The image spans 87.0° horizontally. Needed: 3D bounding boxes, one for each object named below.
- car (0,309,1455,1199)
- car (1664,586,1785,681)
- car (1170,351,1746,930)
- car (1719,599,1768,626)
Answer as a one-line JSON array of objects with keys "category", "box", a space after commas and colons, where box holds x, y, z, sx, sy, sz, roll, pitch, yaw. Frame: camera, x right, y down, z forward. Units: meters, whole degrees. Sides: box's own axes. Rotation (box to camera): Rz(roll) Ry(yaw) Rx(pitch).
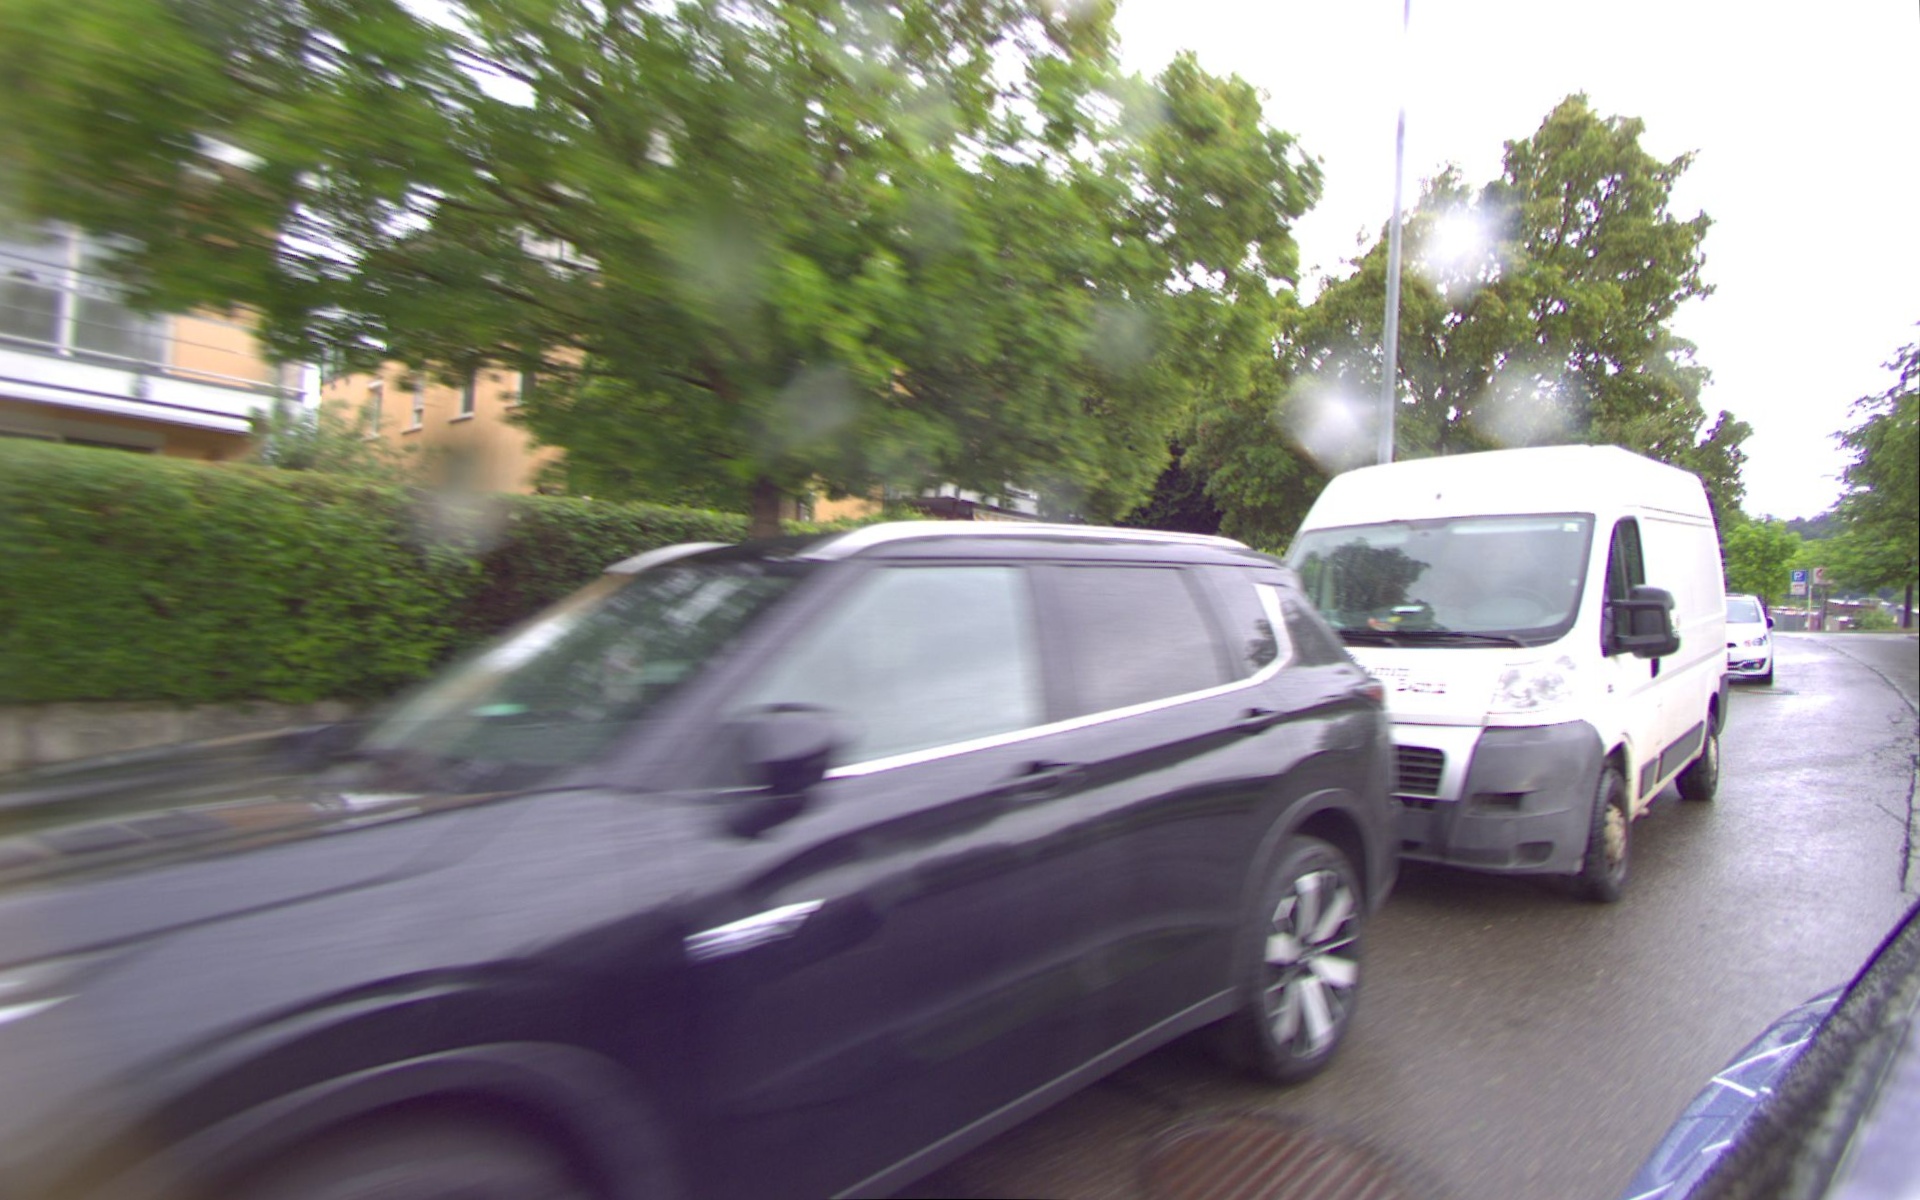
[{"category": "car", "box": [-0.429, 0.558, 2.844, 4.521, 1.725, 1.811, 0, 0, -43]}, {"category": "car", "box": [13.778, 0.514, 18.172, 1.603, 1.521, 3.673, 0, 1, 39]}, {"category": "car", "box": [3.836, 0.146, 7.078, 2.118, 2.498, 5.423, 0, 1, 43]}, {"category": "car", "box": [44.834, 0.739, 57.962, 1.664, 1.498, 3.518, 1, -1, 28]}]
